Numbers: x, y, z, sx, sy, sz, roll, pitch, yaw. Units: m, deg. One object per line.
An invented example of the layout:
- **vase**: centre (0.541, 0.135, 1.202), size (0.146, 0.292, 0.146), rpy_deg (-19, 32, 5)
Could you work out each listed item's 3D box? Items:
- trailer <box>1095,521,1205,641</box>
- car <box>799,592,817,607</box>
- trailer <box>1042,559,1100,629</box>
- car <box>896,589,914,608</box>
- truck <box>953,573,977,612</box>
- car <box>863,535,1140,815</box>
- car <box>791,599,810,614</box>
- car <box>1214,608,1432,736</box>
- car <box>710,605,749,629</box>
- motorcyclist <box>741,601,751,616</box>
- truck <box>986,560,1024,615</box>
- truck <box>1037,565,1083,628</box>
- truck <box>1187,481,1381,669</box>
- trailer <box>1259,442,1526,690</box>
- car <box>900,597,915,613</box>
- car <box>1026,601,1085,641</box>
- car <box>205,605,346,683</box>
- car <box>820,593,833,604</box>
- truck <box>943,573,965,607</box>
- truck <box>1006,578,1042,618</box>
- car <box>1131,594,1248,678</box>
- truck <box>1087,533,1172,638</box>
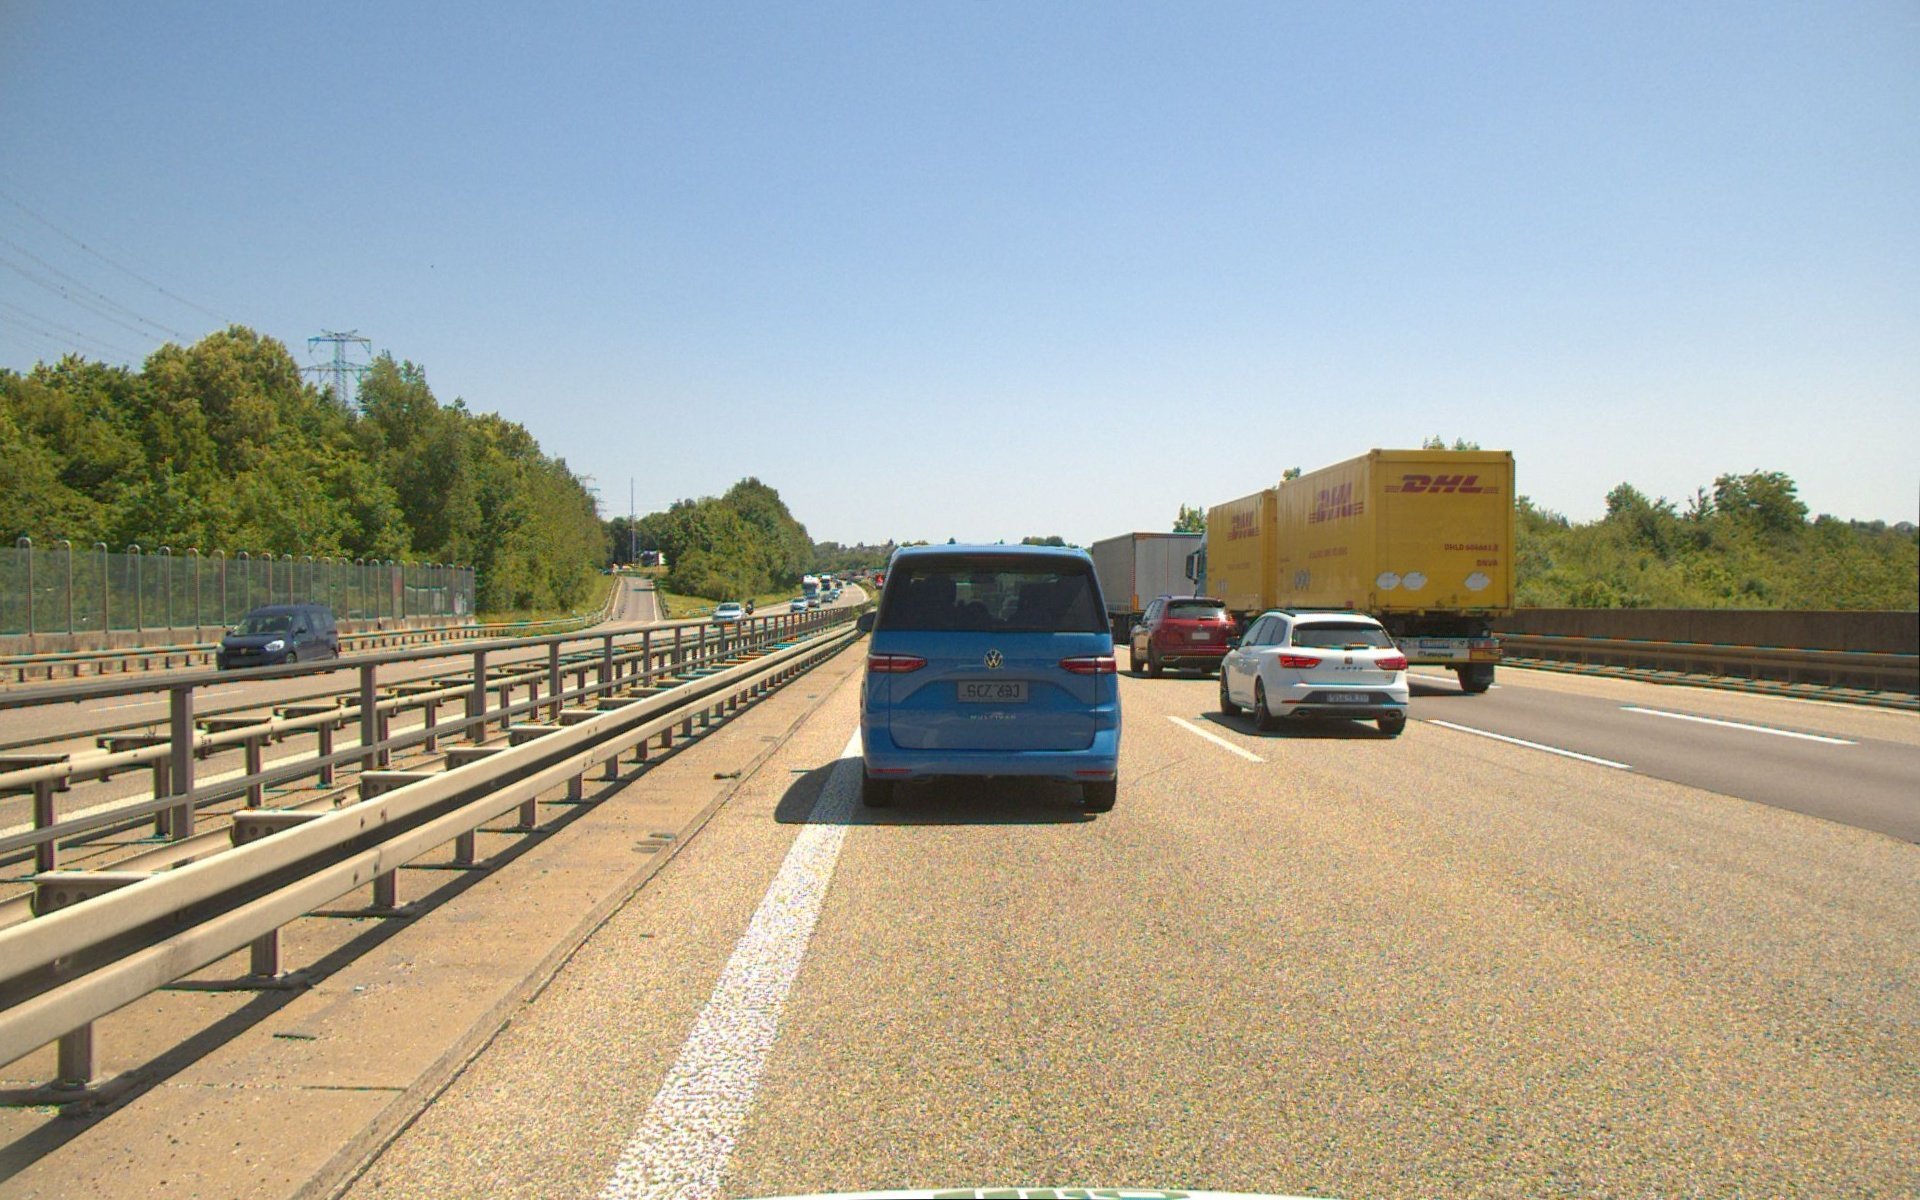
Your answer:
- **trailer**: centre (7.257, -0.623, 64.755), size (2.699, 4.219, 11.308), rpy_deg (1, -1, -1)
- **car**: centre (-18.712, -0.064, 203.780), size (1.793, 1.637, 4.167), rpy_deg (-3, 0, -2)
- **trailer**: centre (6.419, -0.265, 97.175), size (2.331, 3.810, 11.184), rpy_deg (1, -1, -2)
- **car**: centre (-6.137, -0.177, 185.873), size (1.953, 2.049, 3.999), rpy_deg (1, -1, -1)
- **truck**: centre (0.726, -1.105, 239.265), size (2.777, 5.466, 12.548), rpy_deg (-1, 0, -2)
- **car**: centre (0.249, 0.512, 13.118), size (1.844, 1.869, 3.999), rpy_deg (1, 0, -1)
- **car**: centre (-16.890, 0.655, 175.295), size (1.680, 1.459, 4.174), rpy_deg (-3, 0, -1)
- **car**: centre (4.416, 0.821, 20.724), size (1.745, 1.411, 4.187), rpy_deg (1, 0, -1)
- **car**: centre (-14.404, 1.049, 103.572), size (1.872, 1.419, 4.164), rpy_deg (-1, -1, -1)
- **motorcyclist**: centre (-21.168, 0.826, 163.666), size (0.880, 1.466, 1.082), rpy_deg (-1, 1, -2)
- **truck**: centre (4.361, -1.166, 162.559), size (2.777, 5.128, 11.140), rpy_deg (1, -1, -2)
- **truck**: centre (6.193, -0.171, 103.327), size (2.320, 3.787, 6.031), rpy_deg (1, -1, -2)
- **truck**: centre (7.907, -0.497, 41.916), size (2.667, 4.125, 10.333), rpy_deg (1, -1, -1)
- **trailer**: centre (8.085, -0.517, 32.259), size (2.647, 4.094, 8.927), rpy_deg (1, -1, -1)
- **car**: centre (-6.924, 0.713, 219.766), size (1.953, 2.049, 3.999), rpy_deg (1, -1, -1)
- **car**: centre (3.571, 0.761, 62.280), size (1.801, 1.438, 3.998), rpy_deg (0, 0, -3)
- **car**: centre (-17.057, 1.127, 41.423), size (1.746, 1.816, 4.300), rpy_deg (1, -2, -1)
- **car**: centre (-20.361, -0.263, 252.554), size (1.793, 1.637, 4.167), rpy_deg (-2, 0, -2)
- **truck**: centre (-0.986, -1.514, 262.843), size (2.777, 5.128, 12.906), rpy_deg (-1, 0, -2)
- **truck**: centre (5.451, -0.093, 142.669), size (2.308, 3.275, 9.735), rpy_deg (1, -1, -2)
- **car**: centre (4.713, 0.708, 34.410), size (1.813, 1.636, 3.999), rpy_deg (0, 0, -1)
- **truck**: centre (7.116, -0.551, 70.326), size (2.712, 4.167, 6.981), rpy_deg (1, -1, -1)
